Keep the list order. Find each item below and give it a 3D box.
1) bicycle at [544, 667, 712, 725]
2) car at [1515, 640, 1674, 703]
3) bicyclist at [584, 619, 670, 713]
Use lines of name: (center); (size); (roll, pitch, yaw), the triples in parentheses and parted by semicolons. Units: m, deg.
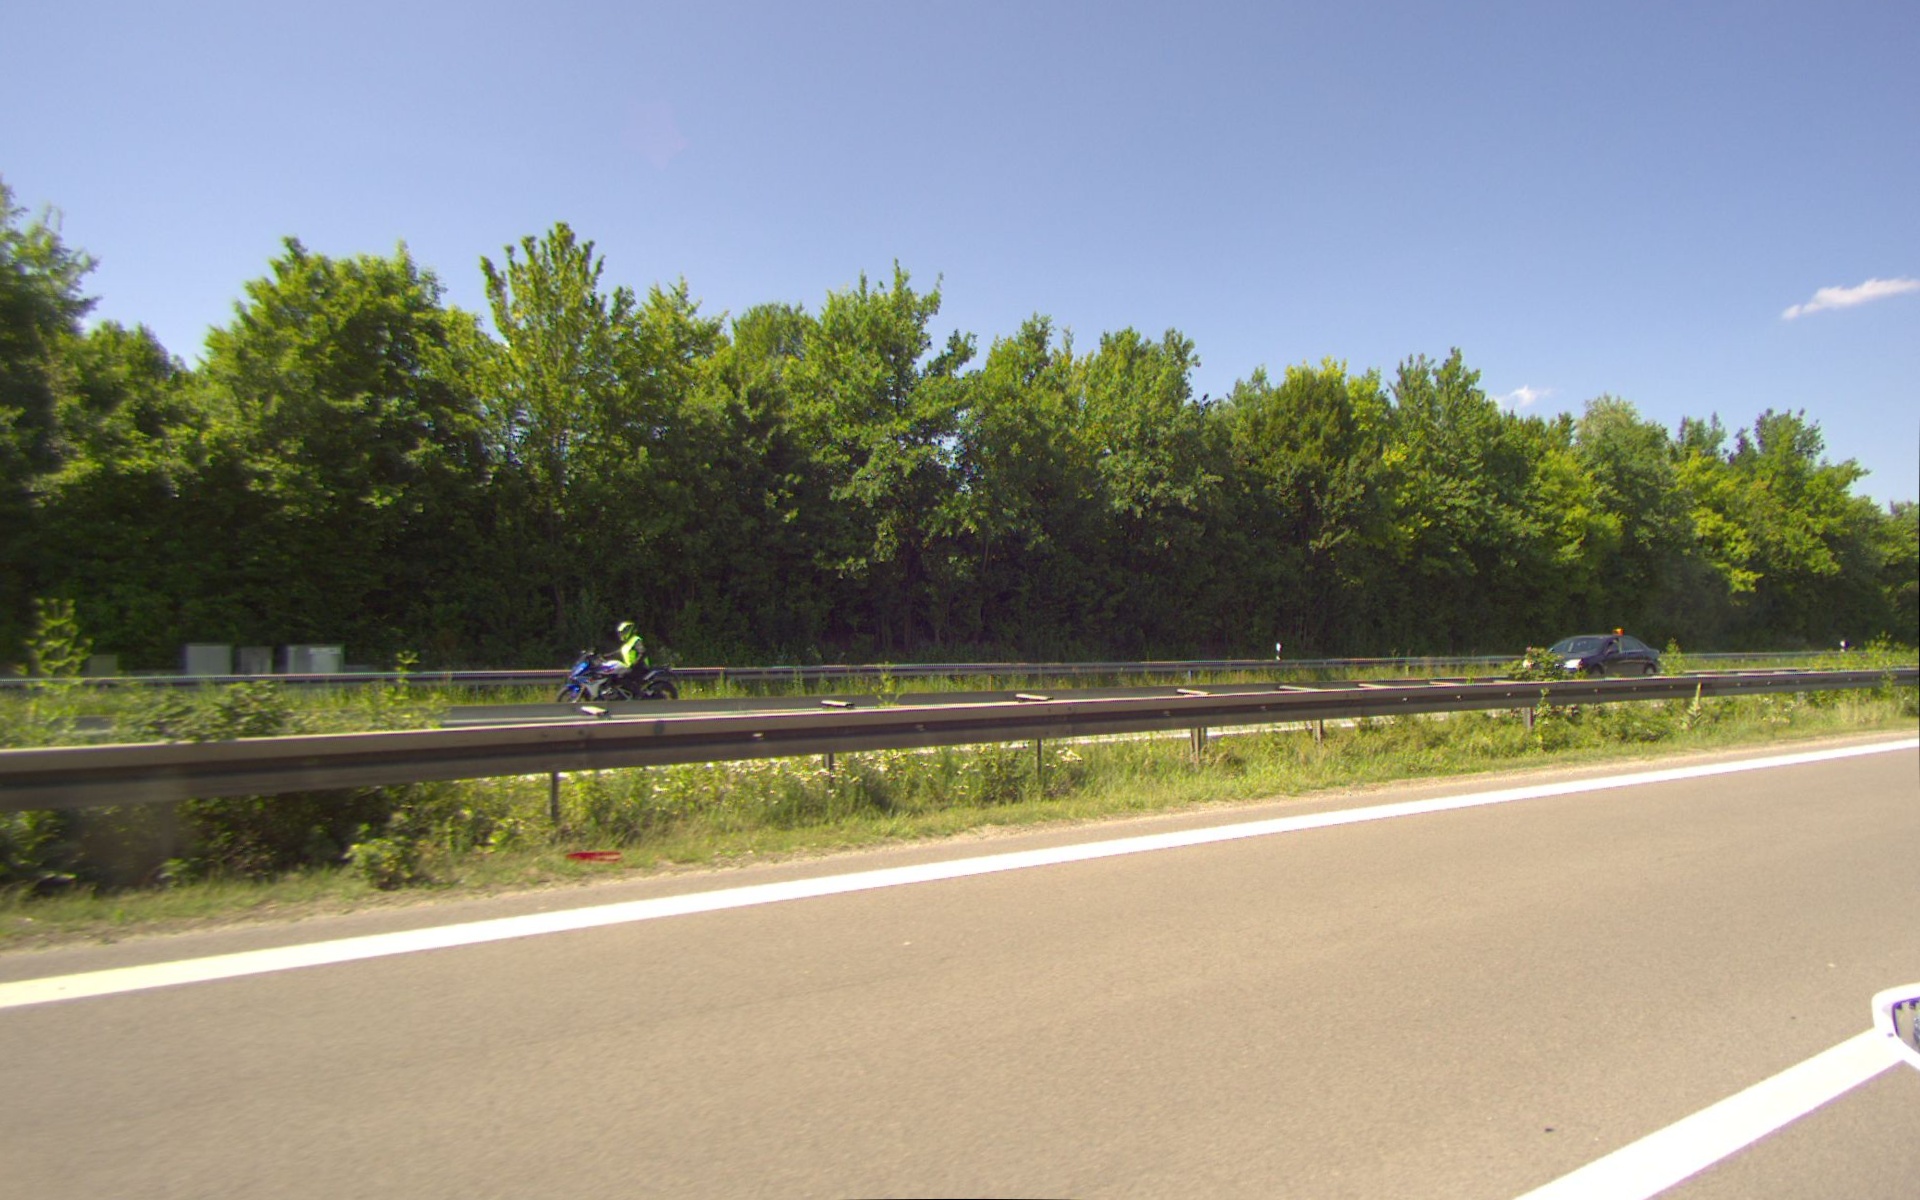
bicycle: (-5.869, 1.670, 17.828); (2.702, 0.928, 0.897); (2, -2, -31)
car: (17.444, 1.900, 27.575); (4.505, 1.606, 1.858); (1, -2, -31)
bicyclist: (-5.913, 1.163, 17.816); (1.272, 1.597, 0.876); (2, -2, -30)
